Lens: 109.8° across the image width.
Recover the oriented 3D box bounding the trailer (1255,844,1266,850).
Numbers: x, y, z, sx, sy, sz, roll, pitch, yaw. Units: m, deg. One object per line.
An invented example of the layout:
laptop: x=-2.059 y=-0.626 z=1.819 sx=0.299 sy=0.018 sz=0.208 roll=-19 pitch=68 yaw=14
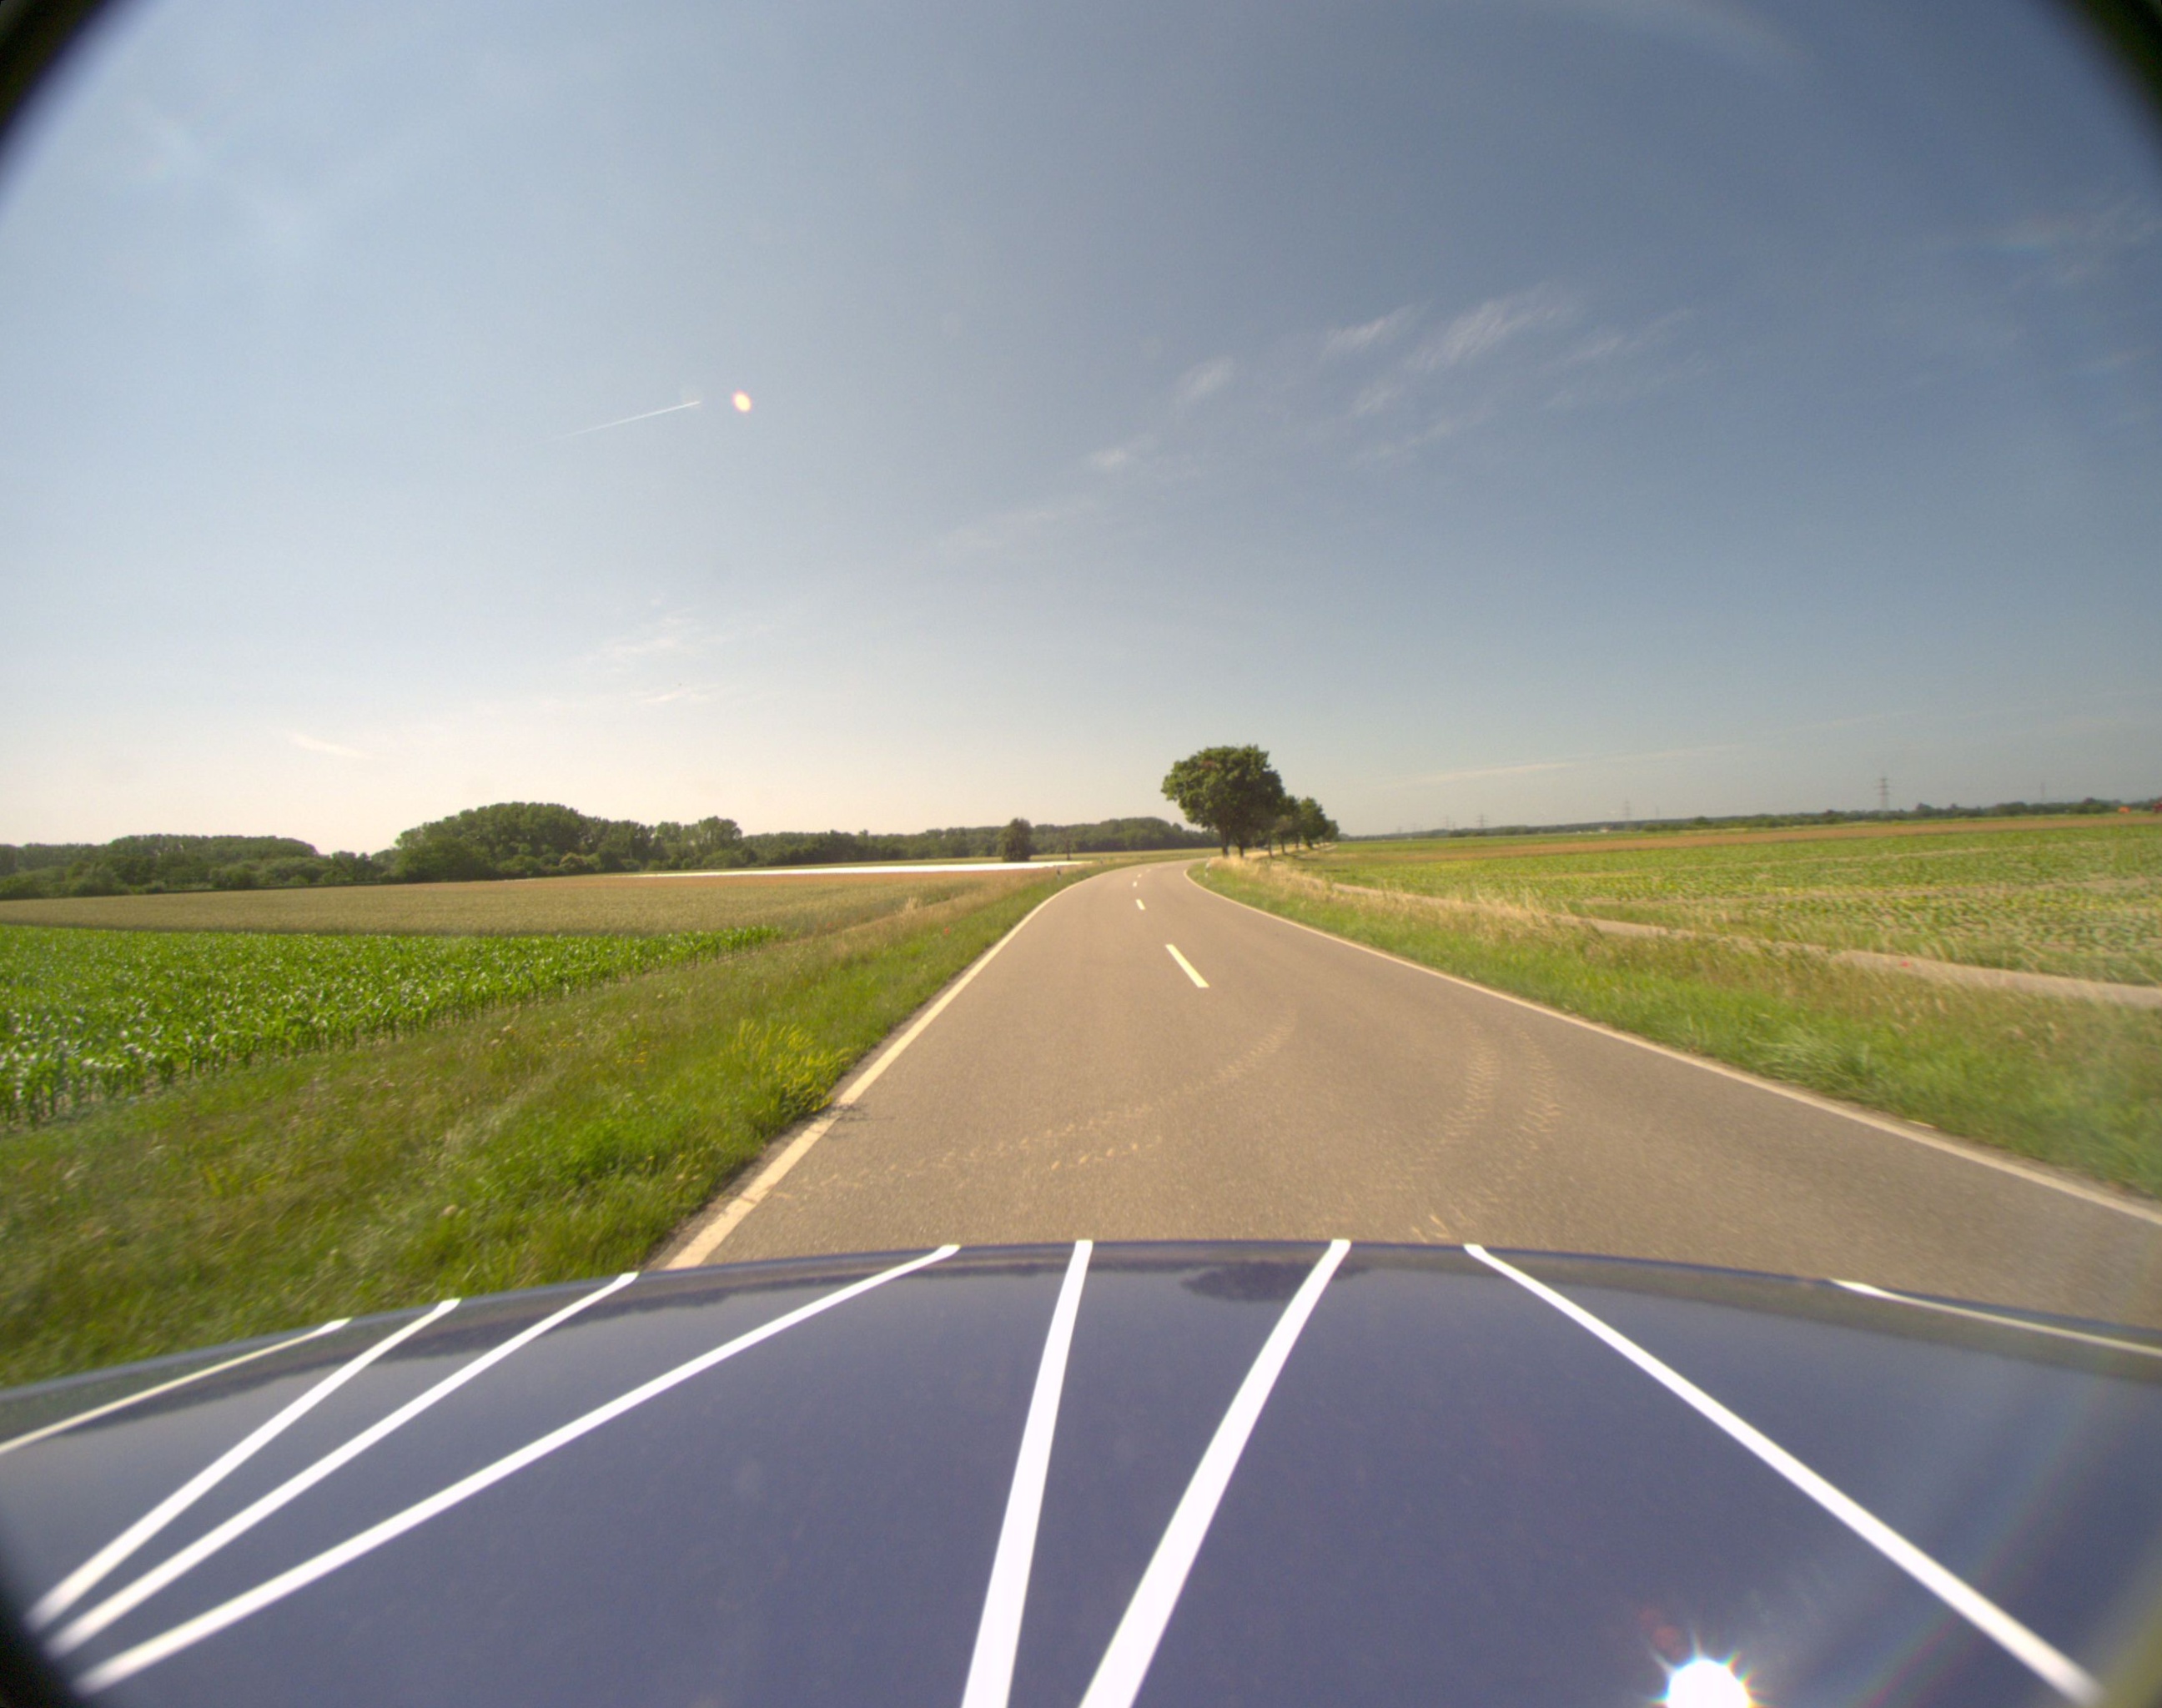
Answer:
trailer: x=35.721 y=-1.375 z=151.250 sx=1.624 sy=1.059 sz=4.125 roll=1 pitch=1 yaw=21
